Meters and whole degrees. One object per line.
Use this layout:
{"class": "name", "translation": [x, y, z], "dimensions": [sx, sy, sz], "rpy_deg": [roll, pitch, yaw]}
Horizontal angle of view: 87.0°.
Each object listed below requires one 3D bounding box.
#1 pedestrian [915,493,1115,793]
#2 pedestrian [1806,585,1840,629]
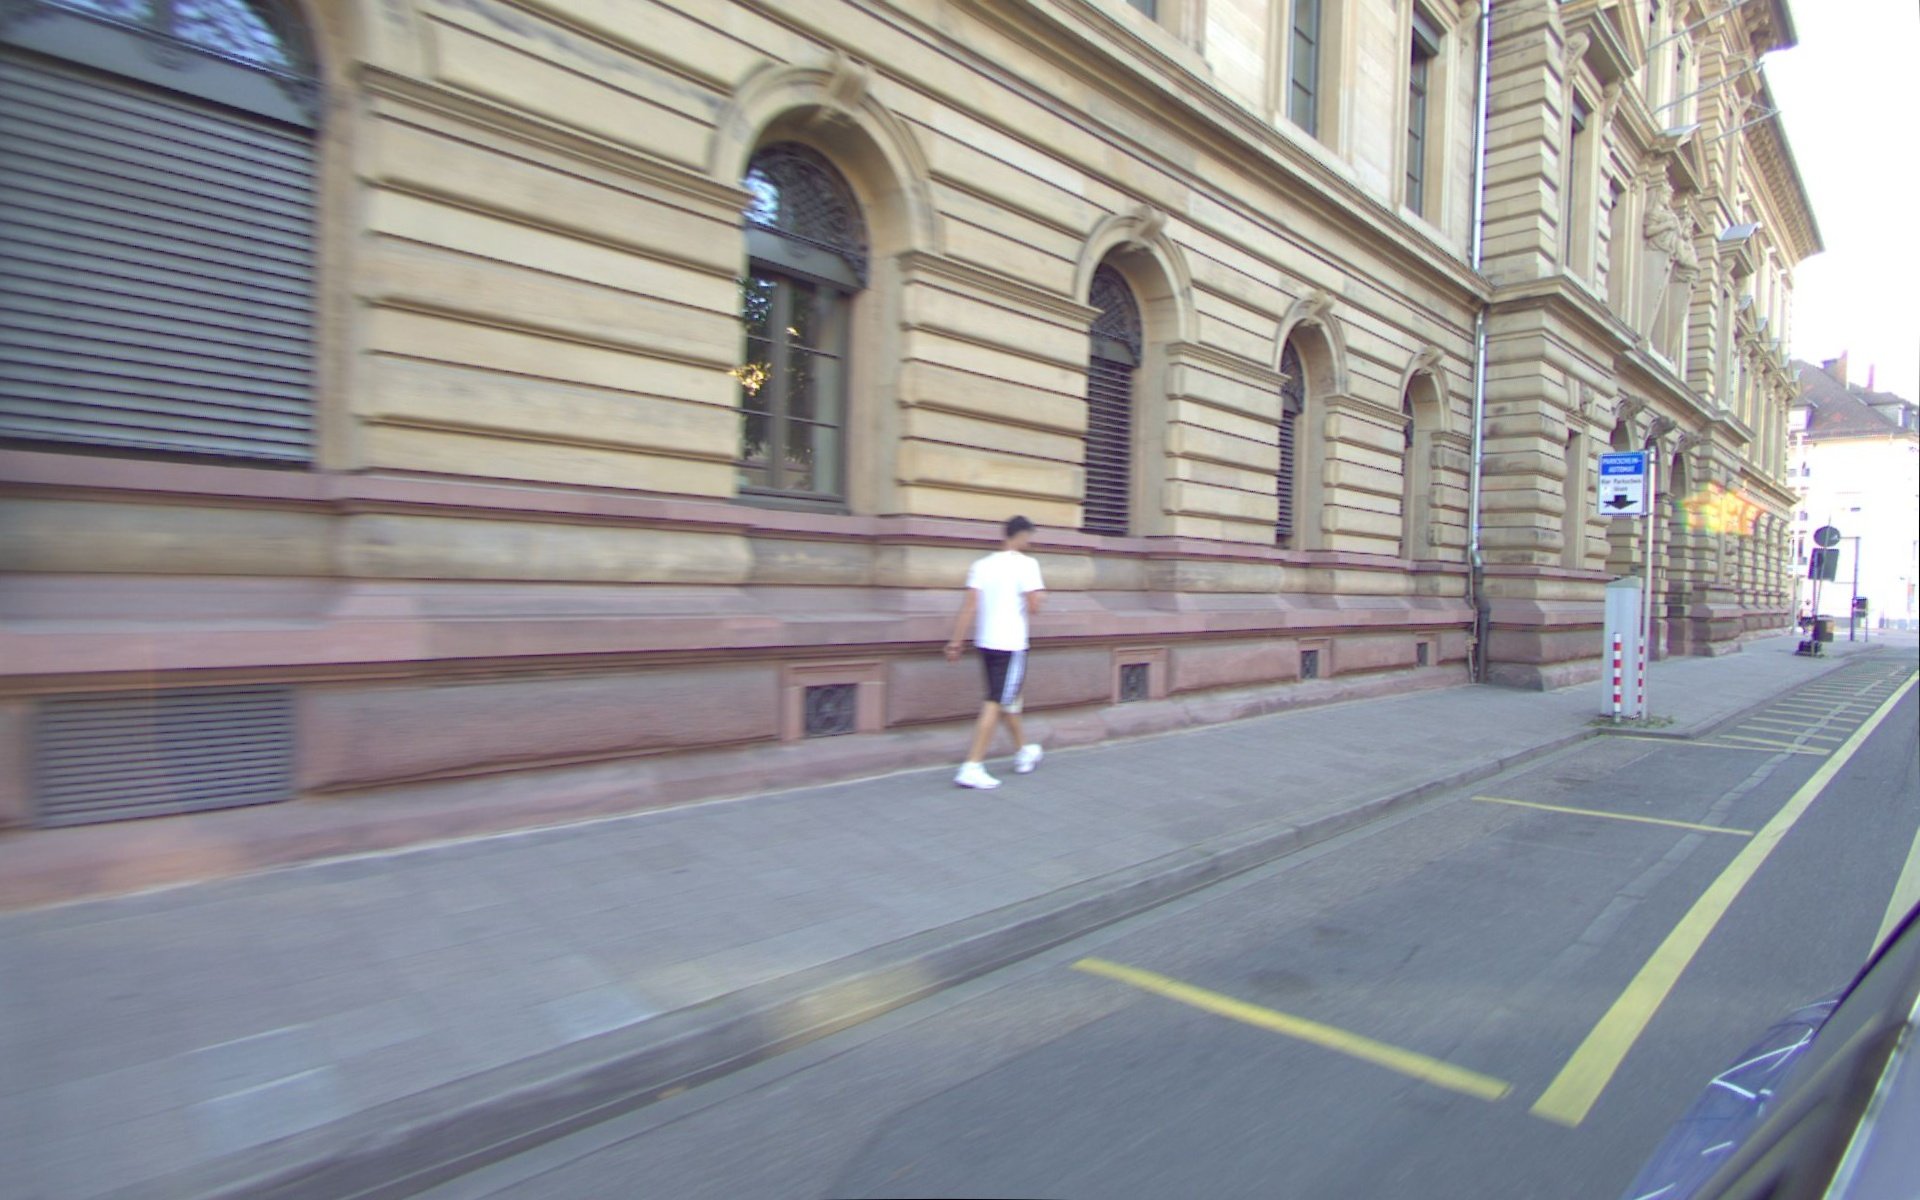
{"class": "pedestrian", "translation": [0.364, 0.257, 6.676], "dimensions": [1.019, 1.788, 0.818], "rpy_deg": [1, -1, -40]}
{"class": "pedestrian", "translation": [40.142, 0.328, 47.100], "dimensions": [0.973, 2.039, 0.789], "rpy_deg": [1, 0, -20]}
